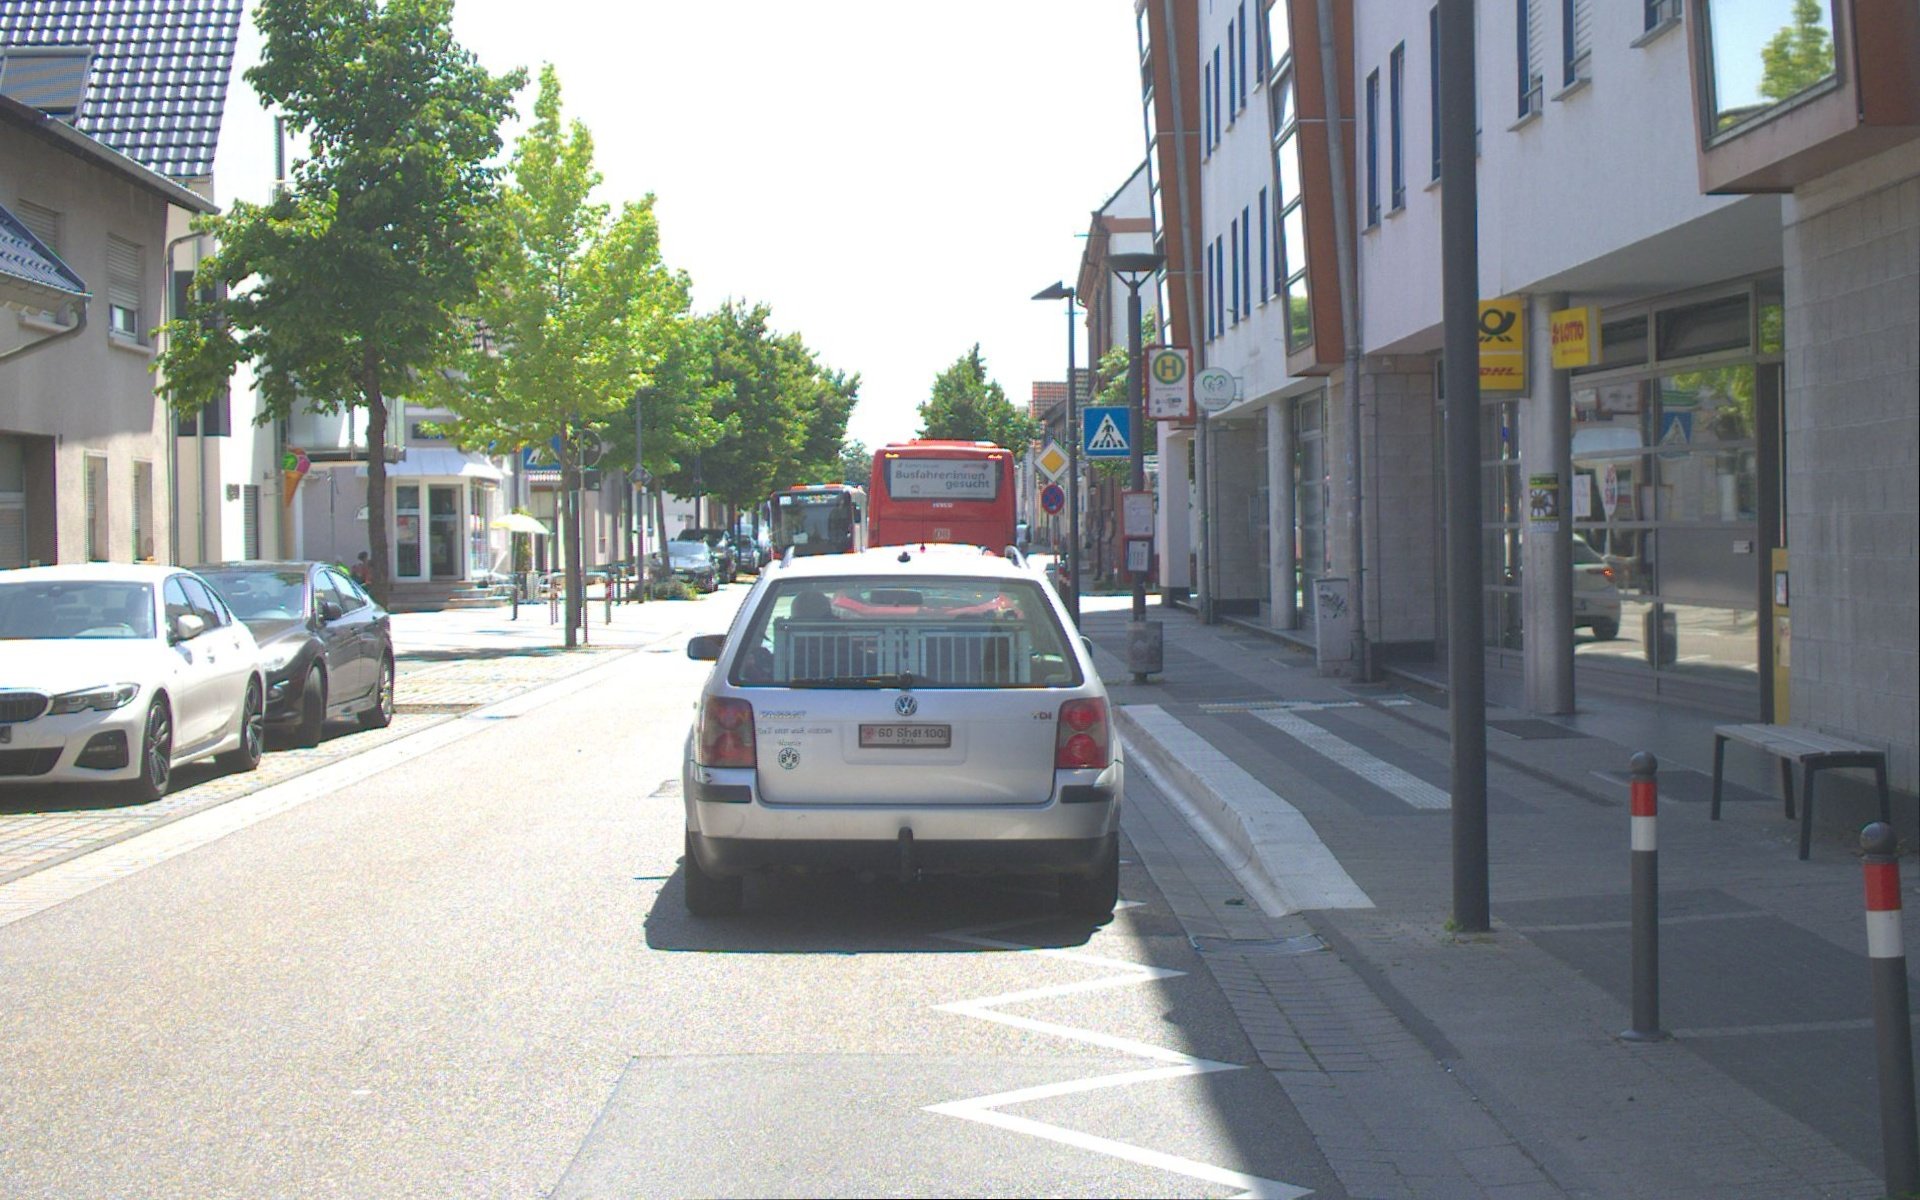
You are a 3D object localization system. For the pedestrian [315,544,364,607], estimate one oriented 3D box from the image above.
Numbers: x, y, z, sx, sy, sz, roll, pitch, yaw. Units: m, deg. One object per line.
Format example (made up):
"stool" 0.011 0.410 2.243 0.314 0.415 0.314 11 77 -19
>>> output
"pedestrian" -12.936 -0.517 71.692 0.634 1.284 0.789 1 1 -44

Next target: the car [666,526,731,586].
"car" -8.224 -1.406 108.418 1.764 1.831 3.789 -1 1 -1

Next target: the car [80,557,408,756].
"car" -5.697 0.393 27.875 1.660 1.432 4.538 -1 1 0

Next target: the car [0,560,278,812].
"car" -5.701 0.478 22.276 1.720 1.432 4.460 0 1 -1

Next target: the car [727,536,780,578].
"car" -7.781 -1.644 129.721 1.811 1.553 4.000 -1 1 -1

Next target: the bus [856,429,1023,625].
"bus" -0.530 -1.319 63.935 2.740 3.287 12.706 0 1 -2

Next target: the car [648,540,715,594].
"car" -7.803 -0.944 96.532 1.605 1.433 4.065 -1 1 -1

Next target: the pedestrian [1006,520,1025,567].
"pedestrian" 1.997 -2.047 124.101 0.606 1.661 0.789 -1 1 -2

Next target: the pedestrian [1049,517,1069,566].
"pedestrian" 3.437 -2.036 119.473 0.606 1.661 0.789 -1 1 -2

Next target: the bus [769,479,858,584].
"bus" -4.928 -2.429 114.931 2.668 3.113 17.810 -1 2 -3

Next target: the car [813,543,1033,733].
"car" -0.307 0.265 28.533 1.677 1.425 3.680 1 1 -1

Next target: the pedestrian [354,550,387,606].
"pedestrian" -12.543 -0.482 73.161 0.622 1.175 0.697 -1 1 -5

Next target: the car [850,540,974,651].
"car" -0.618 -0.088 46.569 1.593 1.425 3.679 1 1 0

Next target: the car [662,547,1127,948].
"car" -0.260 0.514 14.477 1.677 1.425 3.680 1 1 -1

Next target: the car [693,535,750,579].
"car" -8.540 -1.560 123.429 1.811 1.553 4.000 -1 1 -1
